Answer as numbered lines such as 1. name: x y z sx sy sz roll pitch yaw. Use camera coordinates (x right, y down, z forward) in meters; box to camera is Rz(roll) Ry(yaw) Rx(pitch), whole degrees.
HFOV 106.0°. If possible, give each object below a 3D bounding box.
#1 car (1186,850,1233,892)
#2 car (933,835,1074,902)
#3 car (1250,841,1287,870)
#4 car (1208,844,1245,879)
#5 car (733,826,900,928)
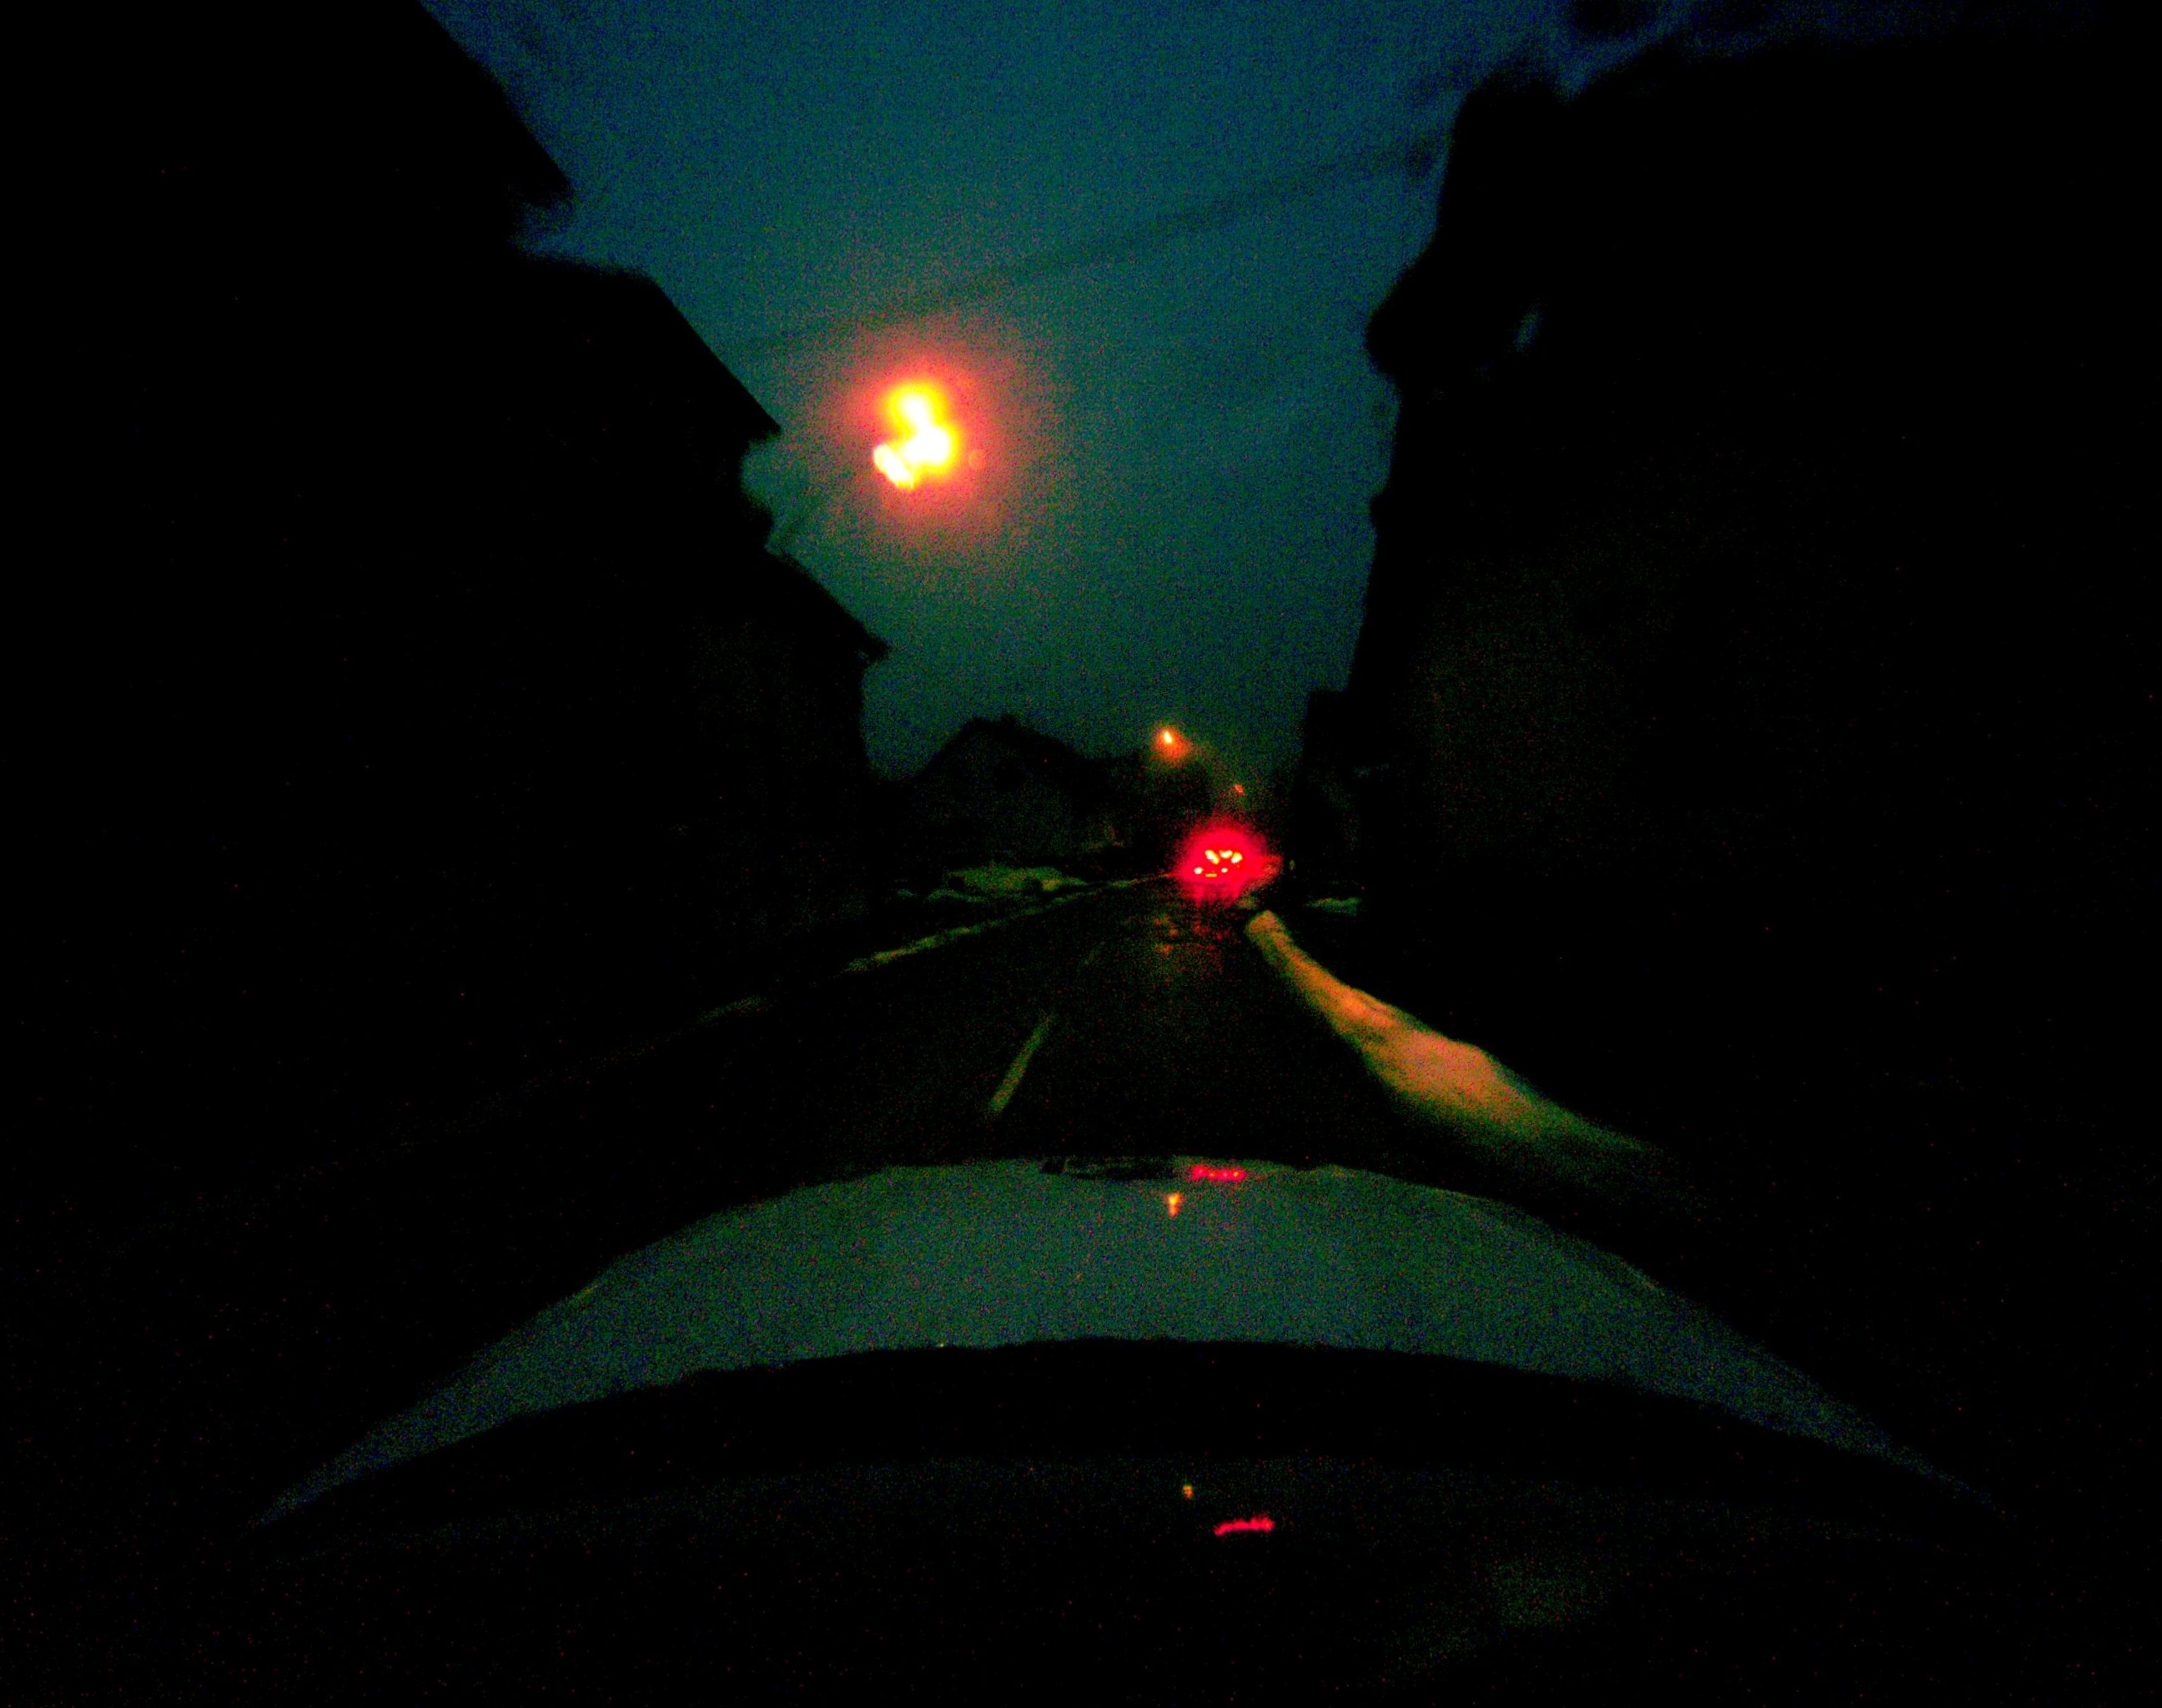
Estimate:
1. car: 6.297 0.781 39.694 1.980 1.507 4.014 -5 3 11
2. car: -2.876 0.536 30.544 4.695 2.013 2.010 -4 3 17
3. car: 14.292 0.062 61.989 2.233 1.639 4.873 -4 3 18
4. car: 9.700 0.457 54.084 1.979 1.837 4.018 -4 3 15
5. car: -7.164 0.542 22.462 3.994 2.276 1.991 -6 3 -14
